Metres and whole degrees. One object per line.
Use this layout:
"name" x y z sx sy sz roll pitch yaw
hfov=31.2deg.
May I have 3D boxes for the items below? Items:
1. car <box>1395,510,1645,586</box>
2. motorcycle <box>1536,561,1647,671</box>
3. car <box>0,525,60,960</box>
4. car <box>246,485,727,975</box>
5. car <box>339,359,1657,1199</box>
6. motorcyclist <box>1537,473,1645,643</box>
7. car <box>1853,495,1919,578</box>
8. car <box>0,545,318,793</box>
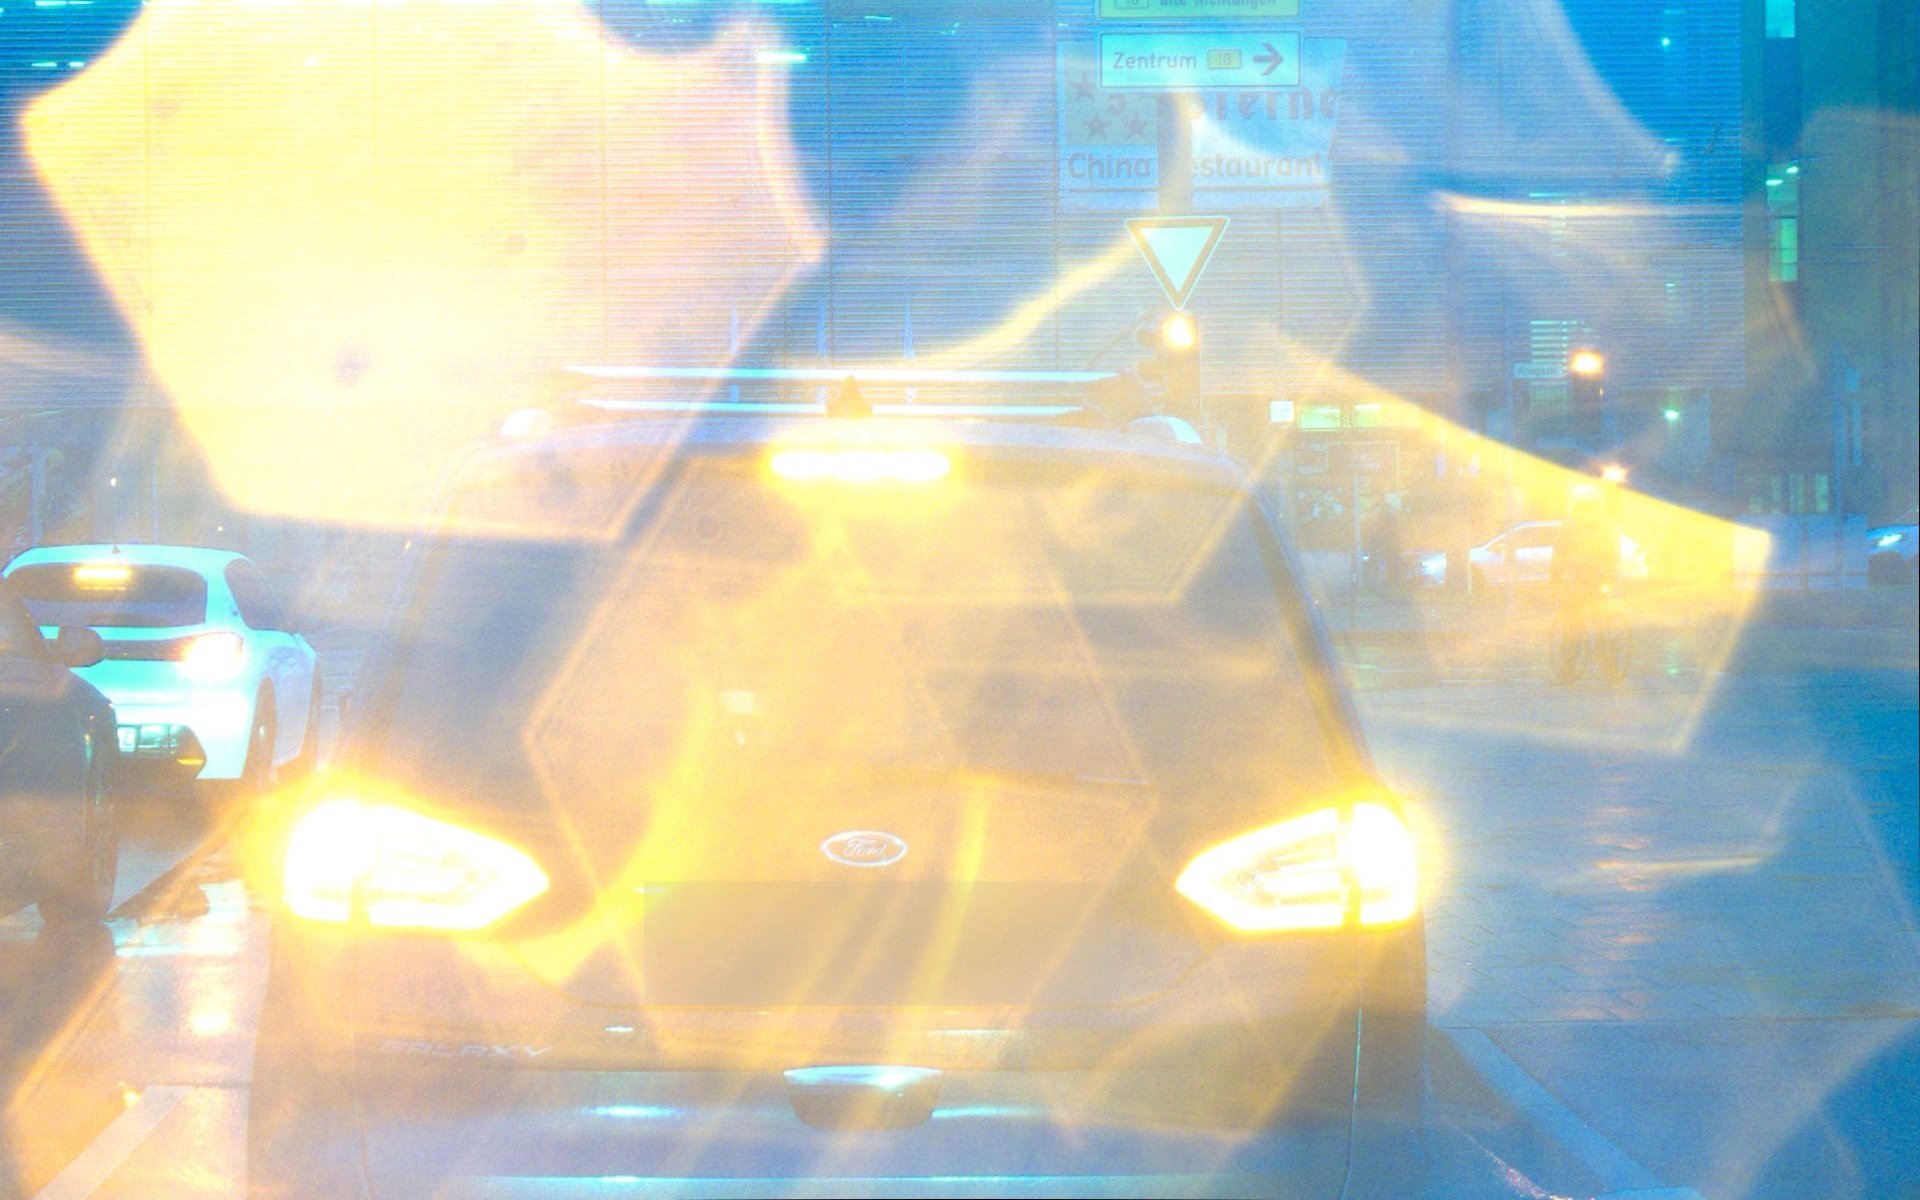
"car" 10.784 -1.013 66.289 4.418 1.385 1.800 -1 1 -7
"motorcycle" 5.804 0.132 31.656 0.853 0.968 1.581 0 1 5
"car" -4.278 0.536 11.500 1.752 1.568 4.001 -1 1 -4
"car" -1.793 0.428 13.737 1.636 1.691 3.671 1 1 -5
"car" -0.057 0.524 6.732 1.735 1.732 4.247 2 1 -3
"motorcyclist" 5.804 -0.392 31.662 0.868 1.529 1.108 0 1 5
"car" 19.863 -1.257 66.931 4.418 1.589 1.800 -1 1 -7
"car" -4.514 0.317 19.480 1.540 1.247 4.069 0 1 -8
